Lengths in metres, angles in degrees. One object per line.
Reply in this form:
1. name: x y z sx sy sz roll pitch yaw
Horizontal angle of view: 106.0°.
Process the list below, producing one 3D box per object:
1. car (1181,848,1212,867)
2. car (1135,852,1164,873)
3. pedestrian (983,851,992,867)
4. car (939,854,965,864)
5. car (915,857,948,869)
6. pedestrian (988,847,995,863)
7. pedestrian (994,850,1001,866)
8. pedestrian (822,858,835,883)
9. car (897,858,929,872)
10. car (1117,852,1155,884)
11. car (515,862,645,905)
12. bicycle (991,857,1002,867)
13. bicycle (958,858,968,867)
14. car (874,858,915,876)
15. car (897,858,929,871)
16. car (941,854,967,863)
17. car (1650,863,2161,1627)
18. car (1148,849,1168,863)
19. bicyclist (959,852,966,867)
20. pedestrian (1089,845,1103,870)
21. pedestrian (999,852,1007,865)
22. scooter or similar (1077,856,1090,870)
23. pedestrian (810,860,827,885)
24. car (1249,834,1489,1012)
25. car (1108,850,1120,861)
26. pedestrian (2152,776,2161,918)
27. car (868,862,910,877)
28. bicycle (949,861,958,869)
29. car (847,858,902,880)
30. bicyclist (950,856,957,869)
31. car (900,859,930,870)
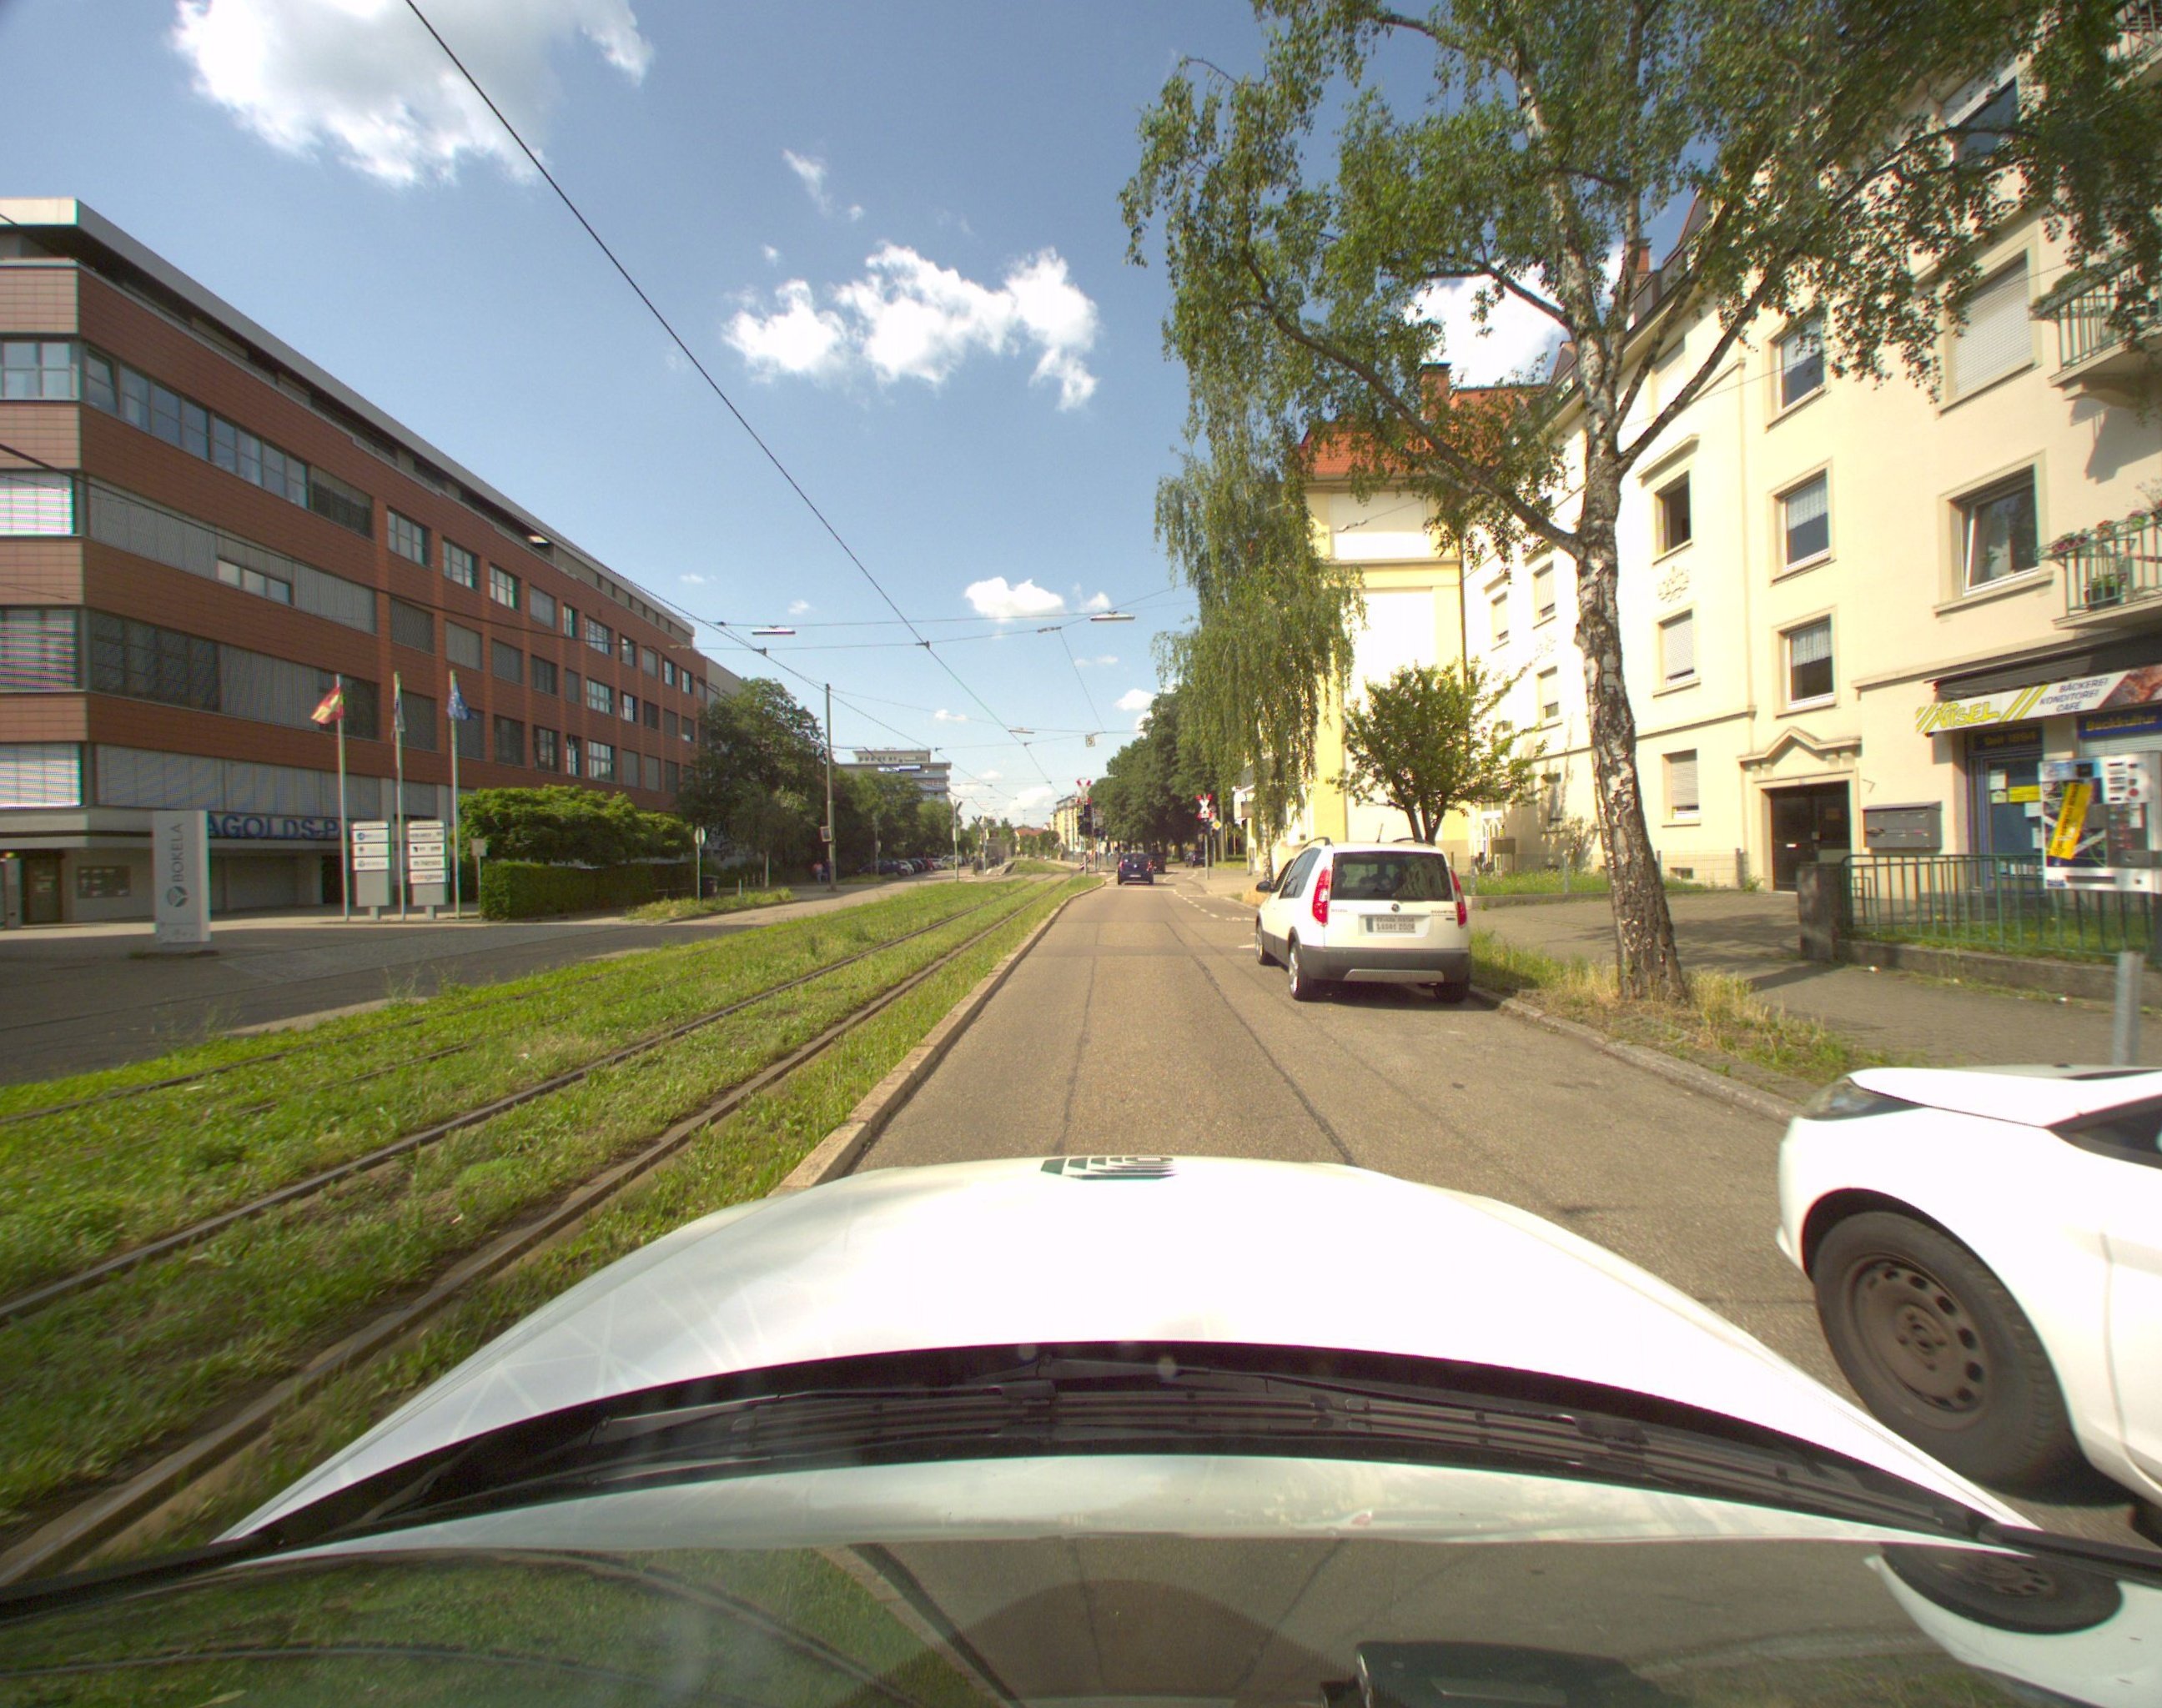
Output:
1. car: 9.704 0.284 68.613 1.762 1.433 3.898 -3 0 -5
2. car: 4.538 0.543 54.347 1.694 1.368 3.515 -1 0 1
3. pedestrian: -9.442 0.541 82.403 0.660 1.569 0.686 -3 0 4
4. car: -20.946 0.795 132.739 1.618 1.385 4.025 -2 0 41
5. car: -19.721 1.140 107.518 4.024 1.367 1.695 -3 0 -45
6. pedestrian: -9.722 0.090 88.788 0.653 1.692 0.655 -3 0 -3
7. pedestrian: -9.641 0.460 93.968 0.601 1.766 0.640 -2 0 5
8. pedestrian: -17.184 1.101 55.421 0.554 1.657 0.748 -2 0 5
9. car: -18.334 1.189 88.790 1.437 1.309 3.267 -2 0 38
10. car: 2.646 0.627 39.384 1.760 1.462 3.779 0 0 3
11. car: -20.448 1.182 33.377 3.975 1.596 1.999 -2 0 -1
12. bicycle: -8.491 0.782 82.185 0.682 0.974 1.774 -4 0 6
13. bicycle: -16.263 1.155 112.093 1.154 1.178 1.781 -3 0 -10
14. car: -17.648 1.240 77.014 3.407 1.505 1.526 -2 0 -42
15. car: -18.831 1.182 91.166 1.437 1.309 3.267 -2 0 40
16. car: -21.518 0.763 137.868 4.020 1.447 1.708 -2 0 -38
17. car: 2.865 0.762 1.066 1.666 1.417 3.796 1 0 1
18. car: 8.371 0.189 89.209 1.854 1.445 4.002 -3 0 2
19. bicyclist: -16.301 0.690 112.059 0.948 2.013 1.570 -2 0 -11
20. pedestrian: 1.113 0.270 61.423 0.869 1.775 1.002 -5 0 -5
21. pedestrian: -9.114 0.504 94.579 0.648 1.426 0.567 -3 0 33
22. scooter or similar: 0.194 0.681 61.115 0.952 1.065 0.796 -1 0 -4
23. pedestrian: -17.080 1.209 53.002 0.742 1.574 0.890 -2 -2 5
24. car: 3.097 0.633 9.618 1.713 1.629 4.006 1 0 5
25. car: 5.364 0.202 132.789 1.614 1.750 3.996 -2 0 -3
26. pedestrian: 6.443 0.383 4.235 0.727 1.683 0.691 -4 0 2
27. car: -17.345 1.395 73.724 3.408 1.236 1.525 -2 0 -43
28. bicycle: -16.478 1.427 105.194 0.678 0.971 2.178 -3 0 0
29. car: -17.205 1.223 67.967 4.156 1.640 1.705 -2 0 -43
30. bicyclist: -16.474 1.079 105.303 0.782 1.582 0.863 -3 0 -1
31. car: -19.801 1.250 97.424 1.437 1.309 3.267 -2 0 40
